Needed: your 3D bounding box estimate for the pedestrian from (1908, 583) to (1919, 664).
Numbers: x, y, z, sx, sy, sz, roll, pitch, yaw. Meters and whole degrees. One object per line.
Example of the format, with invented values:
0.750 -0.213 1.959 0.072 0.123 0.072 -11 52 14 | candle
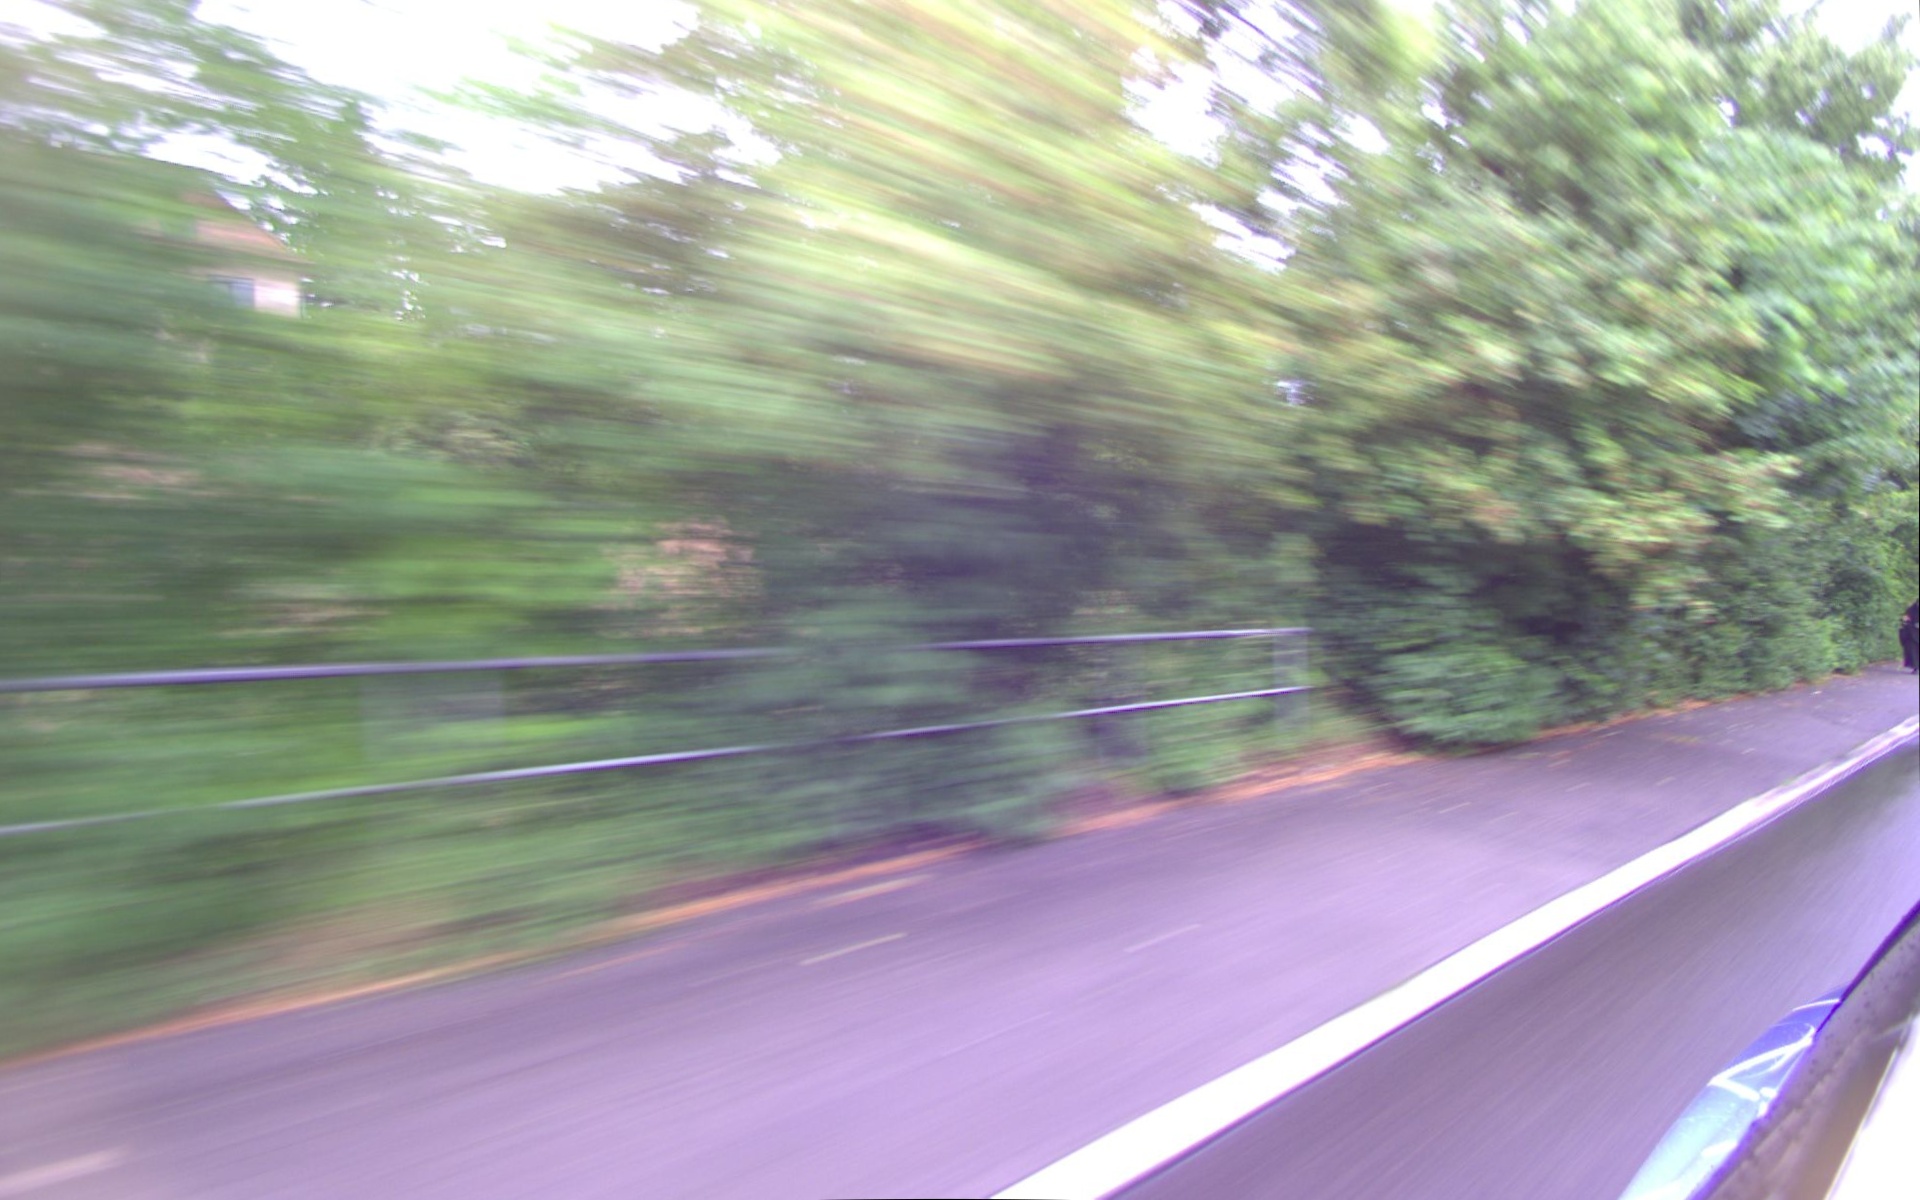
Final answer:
19.500 0.488 20.267 0.658 1.584 0.596 -3 7 -44 | pedestrian
